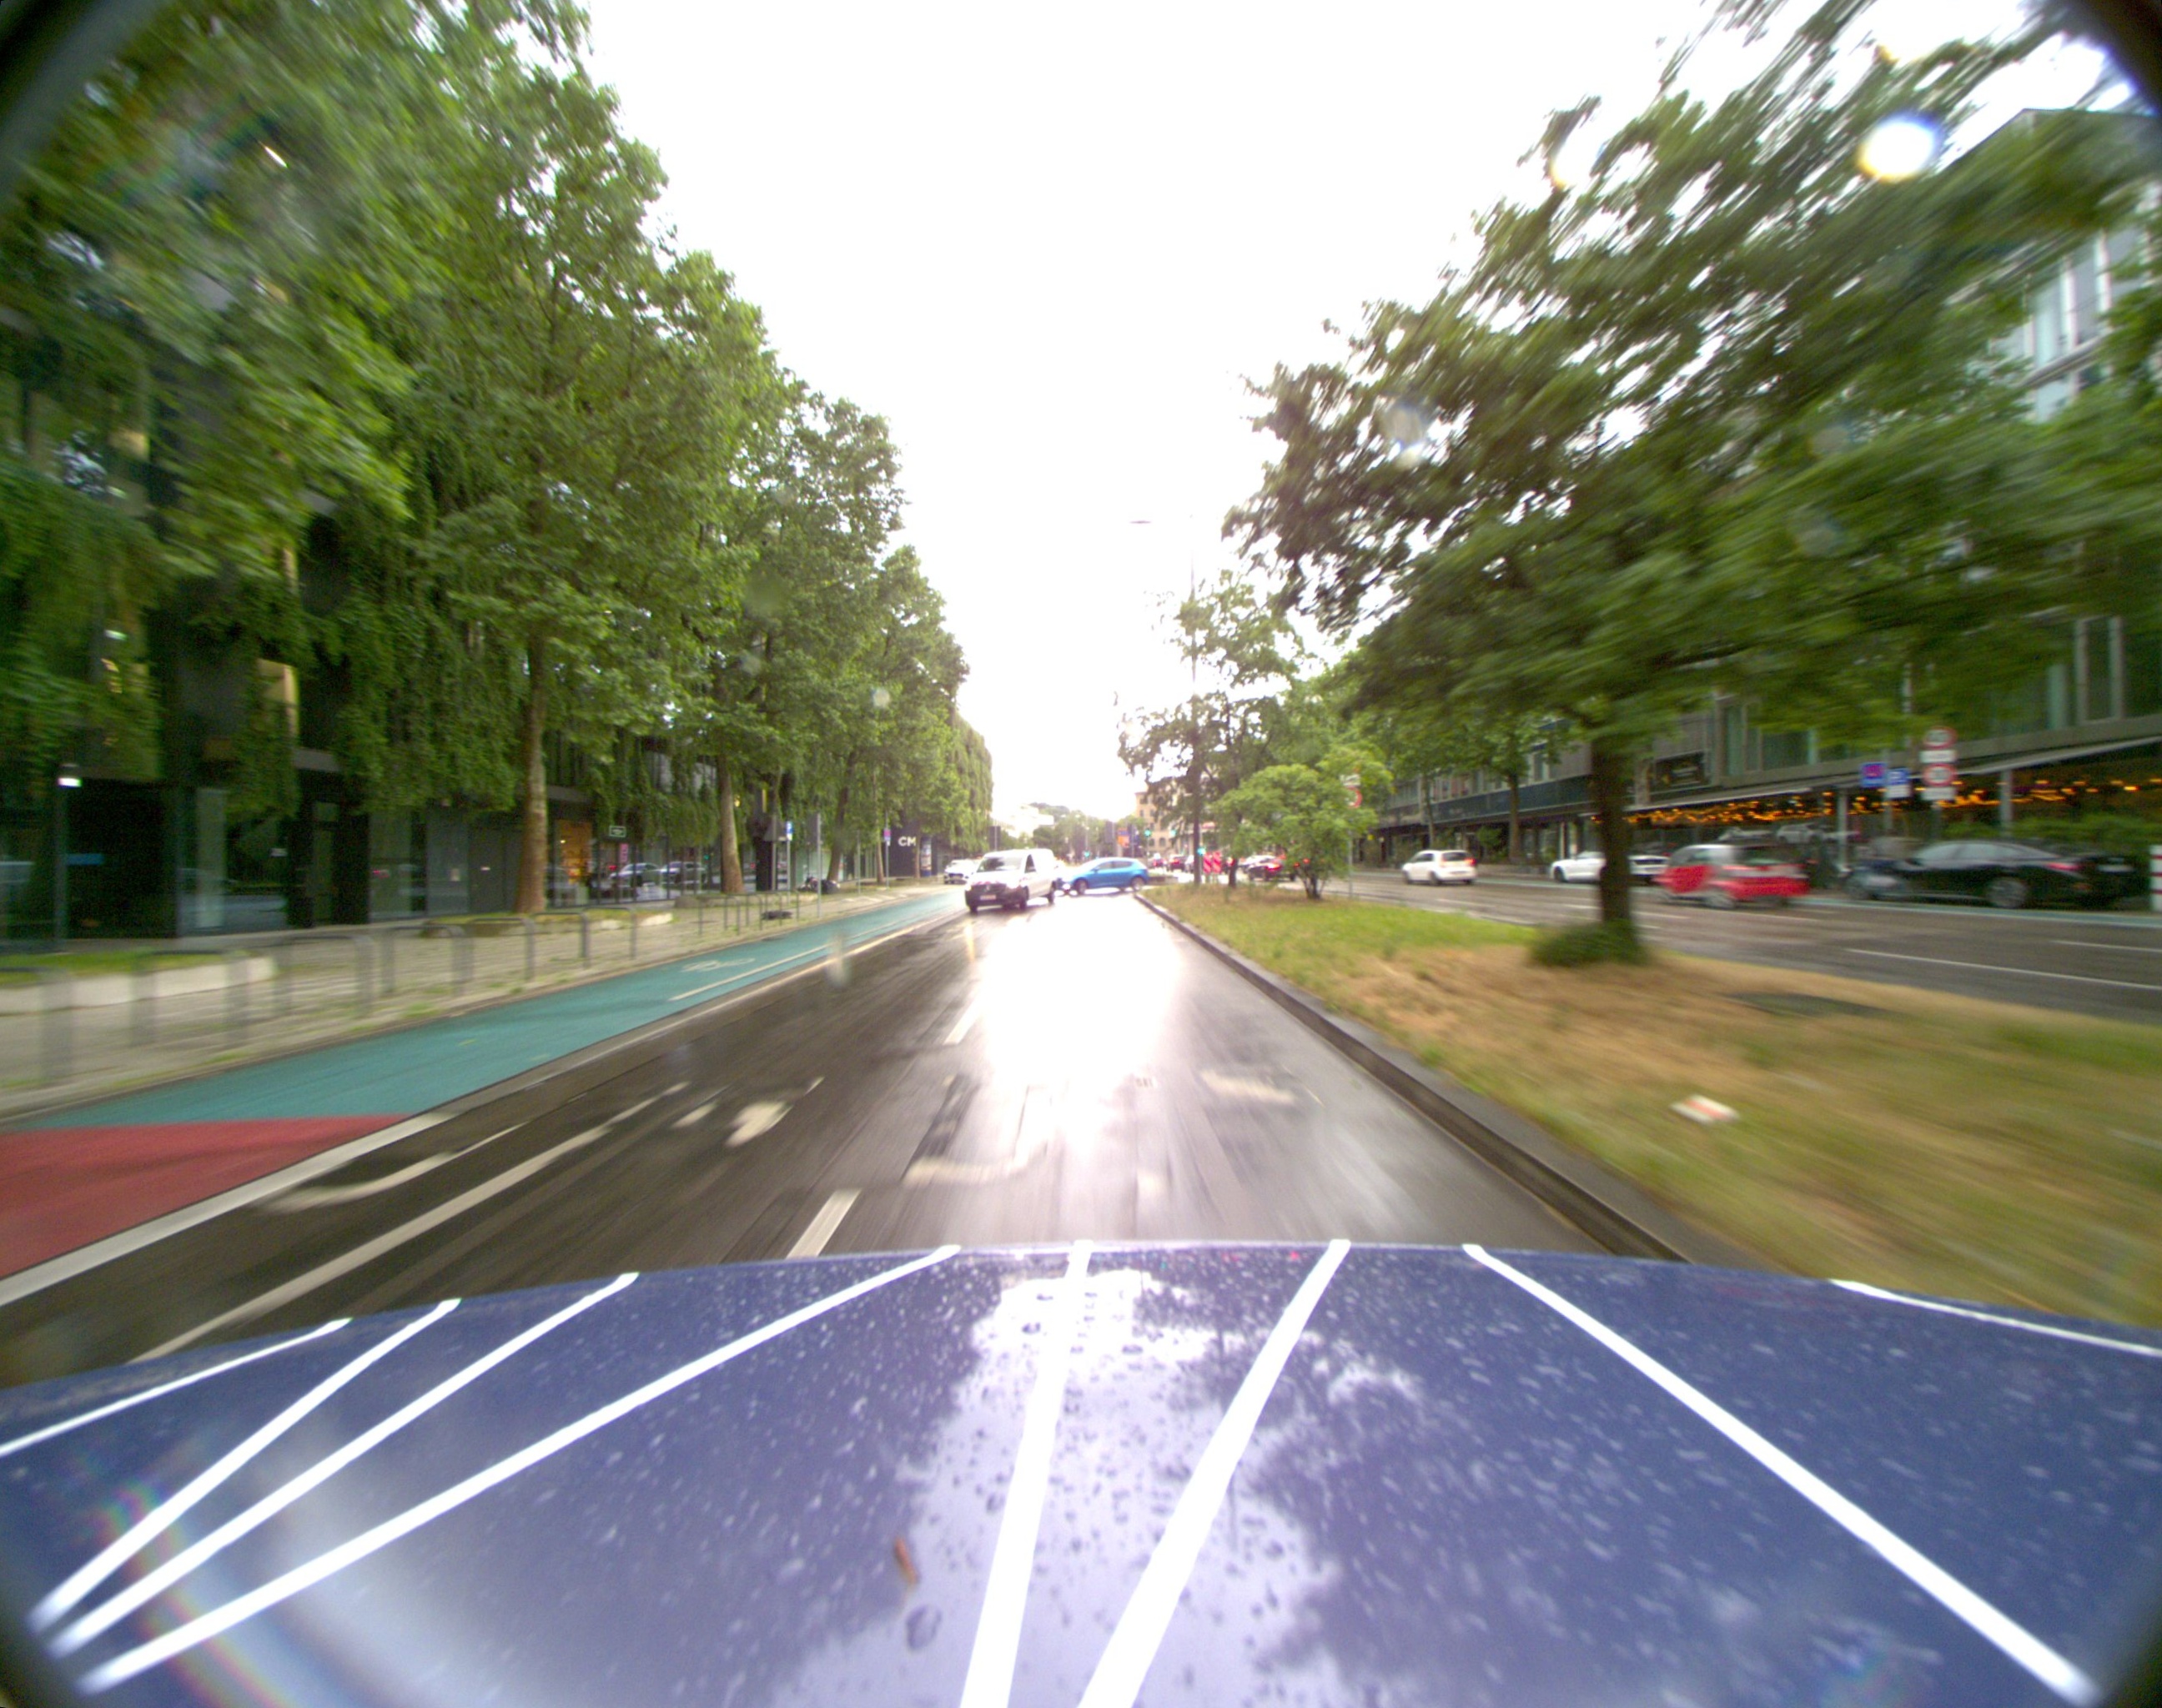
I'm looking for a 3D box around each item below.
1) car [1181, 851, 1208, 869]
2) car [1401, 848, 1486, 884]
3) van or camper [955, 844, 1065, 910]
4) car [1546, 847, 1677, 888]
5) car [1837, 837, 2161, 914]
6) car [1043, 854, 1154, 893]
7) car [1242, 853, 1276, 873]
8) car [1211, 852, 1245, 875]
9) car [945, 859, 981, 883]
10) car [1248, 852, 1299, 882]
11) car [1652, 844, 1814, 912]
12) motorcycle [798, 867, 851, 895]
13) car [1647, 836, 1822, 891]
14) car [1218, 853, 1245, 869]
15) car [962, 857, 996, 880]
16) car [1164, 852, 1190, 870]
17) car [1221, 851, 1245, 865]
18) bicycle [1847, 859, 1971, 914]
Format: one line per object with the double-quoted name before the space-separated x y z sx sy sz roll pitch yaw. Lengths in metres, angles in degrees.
"car" 10.414 0.594 70.134 1.739 1.564 4.832 -1 0 0
"car" 15.363 0.494 32.435 1.848 1.420 3.643 -1 0 0
"van or camper" -2.239 0.700 25.686 1.997 1.902 5.256 -3 0 13
"car" 19.571 0.489 28.296 1.563 1.345 4.683 -2 -1 0
"car" 19.549 0.424 16.547 1.697 1.401 4.456 -1 0 0
"car" 0.761 0.816 32.870 4.400 1.473 1.847 -2 -1 -20
"car" 13.852 0.682 59.360 1.754 1.467 4.096 -1 0 0
"car" 11.102 0.683 57.629 1.754 1.467 4.095 -5 1 0
"car" -8.393 1.176 54.494 1.848 1.623 4.786 -1 0 0
"car" 10.700 0.705 42.474 1.753 1.467 4.095 -3 1 0
"car" 15.269 0.529 17.960 1.497 1.454 2.732 -1 0 1
"motorcycle" -13.141 1.380 39.013 2.313 1.263 1.052 -3 0 -1
"car" 19.681 0.289 23.143 1.841 1.499 4.000 -1 0 0
"car" 14.120 0.654 71.570 1.723 1.482 4.570 -1 0 2
"car" -8.117 1.130 60.807 1.848 1.827 5.095 0 0 2
"car" 10.110 0.742 80.214 1.840 1.756 5.108 -1 0 -2
"car" 16.974 0.460 84.910 1.757 1.556 3.999 -1 0 -1
"bicycle" 17.742 0.657 16.347 0.711 1.097 1.816 -1 0 1
